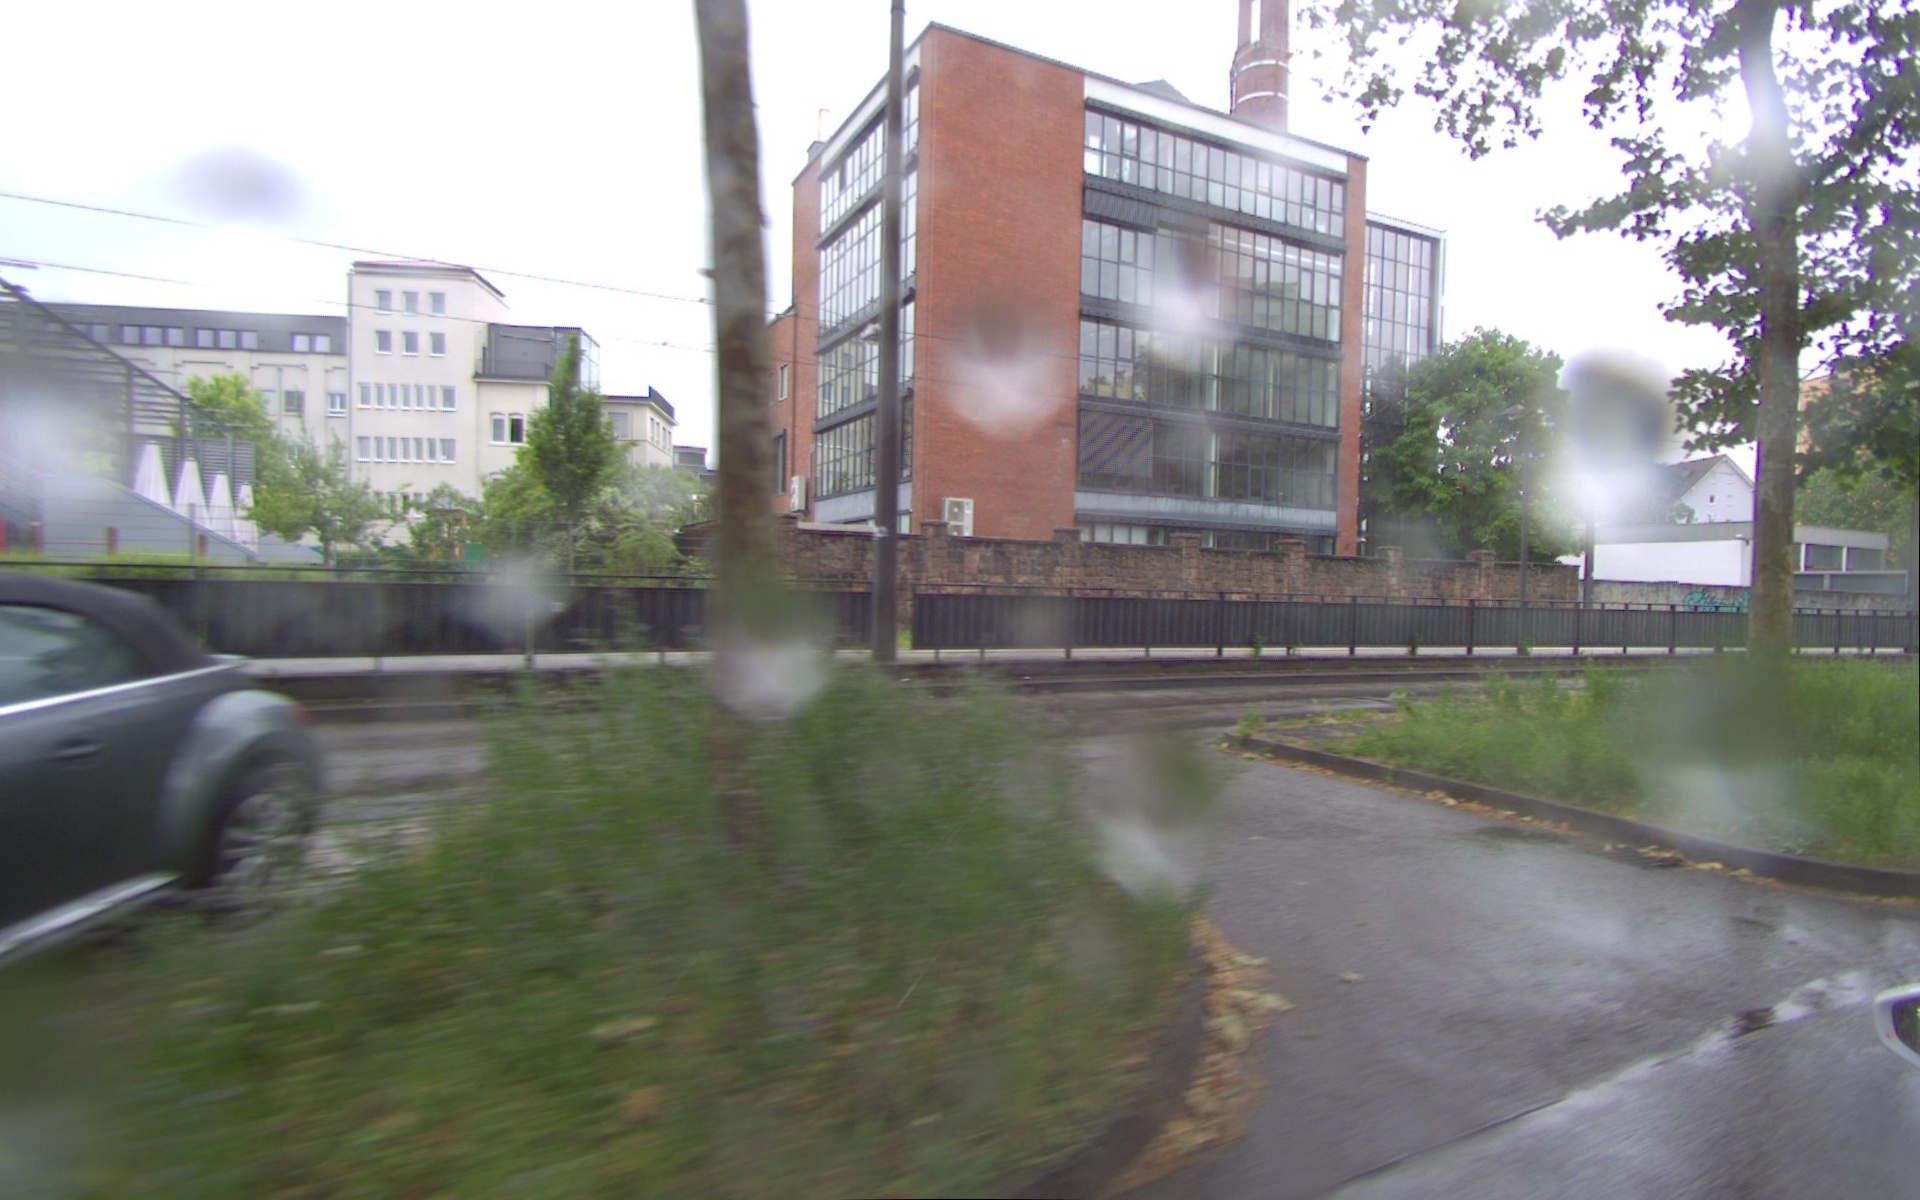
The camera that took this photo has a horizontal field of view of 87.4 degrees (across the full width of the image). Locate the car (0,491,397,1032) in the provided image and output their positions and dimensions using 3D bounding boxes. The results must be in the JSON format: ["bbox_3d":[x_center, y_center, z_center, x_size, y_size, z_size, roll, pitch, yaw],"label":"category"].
[{"bbox_3d":[-3.708,0.450,2.830,1.893,1.562,4.231,1,-1,-1],"label":"car"}]
